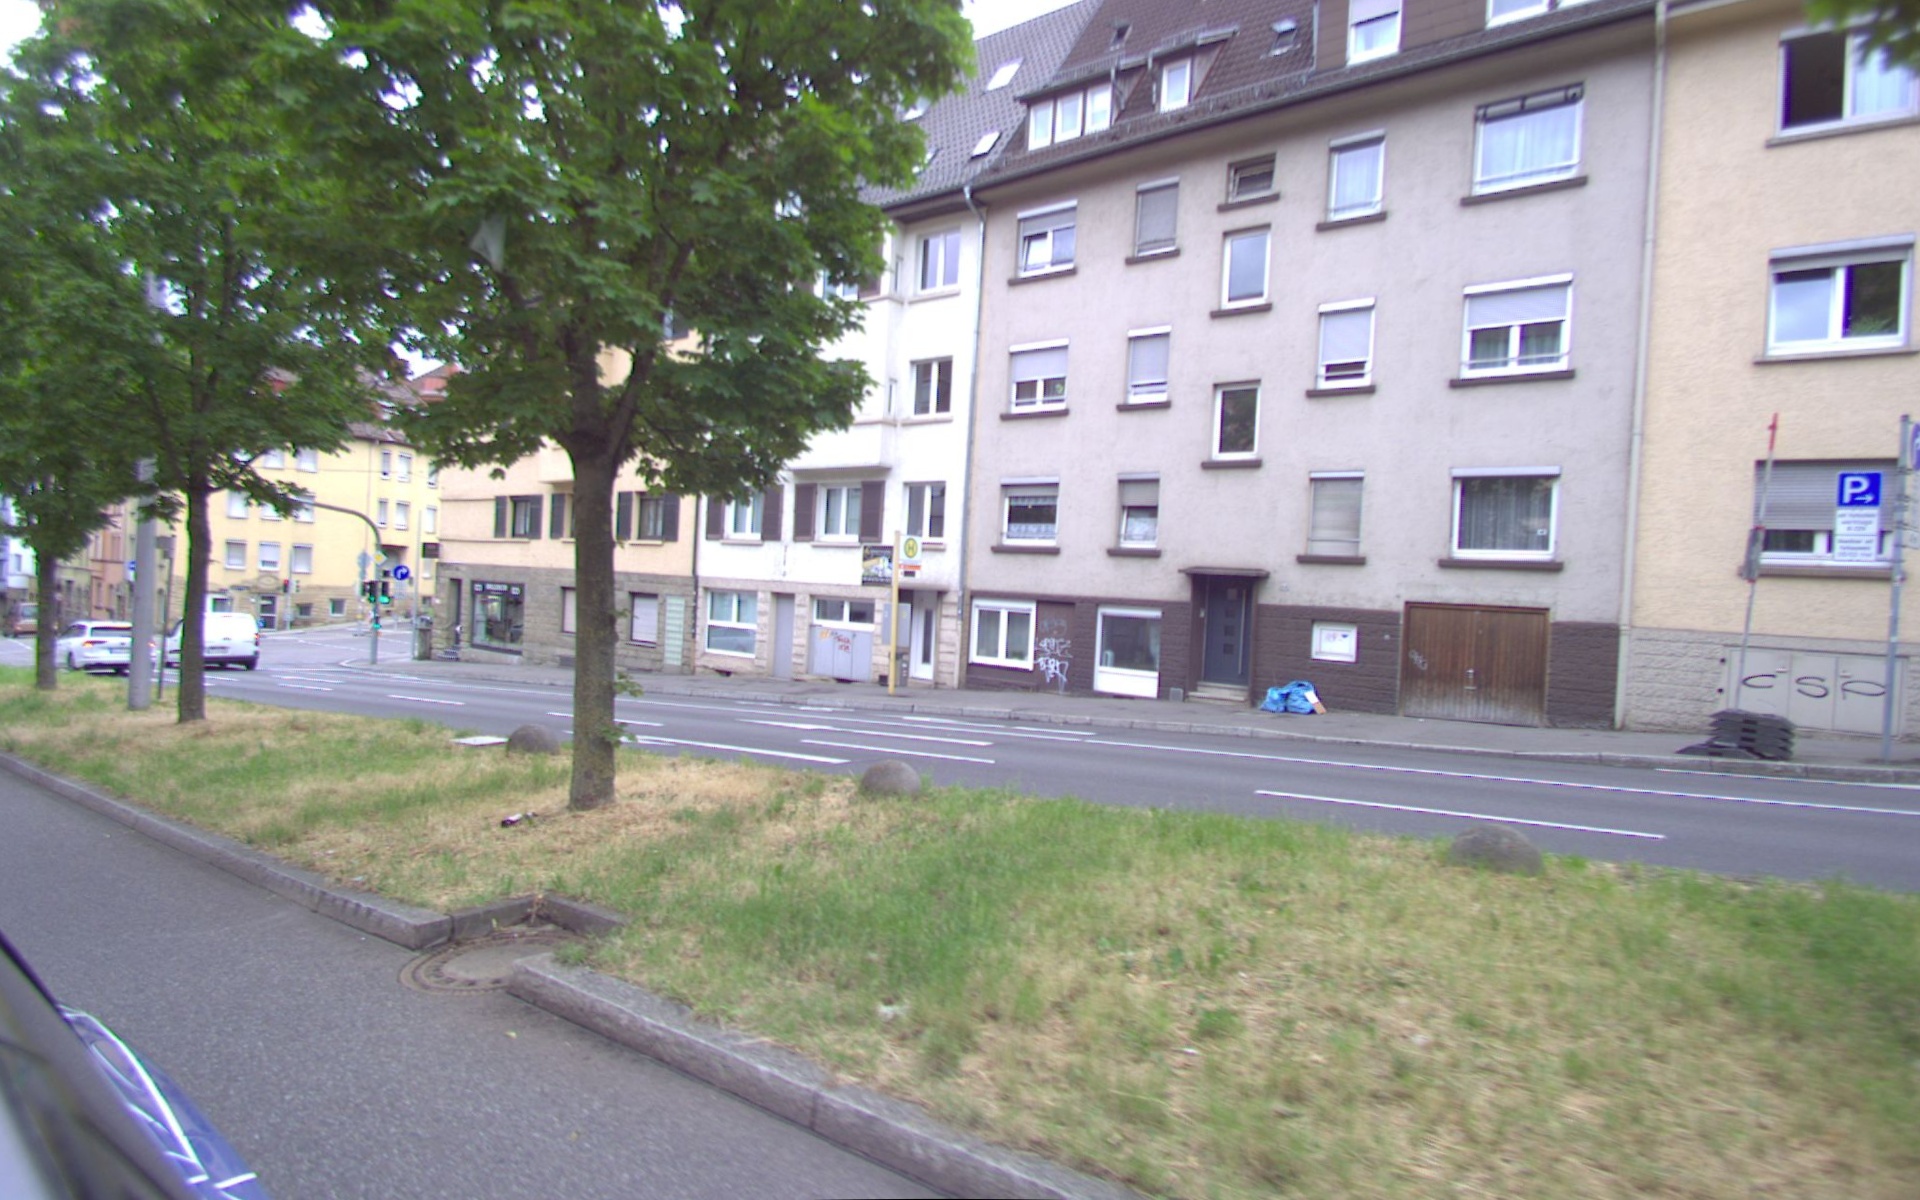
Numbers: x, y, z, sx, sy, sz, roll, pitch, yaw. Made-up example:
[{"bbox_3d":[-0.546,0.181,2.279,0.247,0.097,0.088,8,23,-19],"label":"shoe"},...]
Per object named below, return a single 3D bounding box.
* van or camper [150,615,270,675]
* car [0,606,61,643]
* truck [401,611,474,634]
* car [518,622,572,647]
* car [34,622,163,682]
[{"bbox_3d":[-23.934,1.403,32.255,4.649,1.775,1.889,-1,-3,39],"label":"van or camper"},{"bbox_3d":[-49.271,1.313,53.538,4.346,1.830,1.861,-3,-3,39],"label":"car"},{"bbox_3d":[-32.677,1.393,63.442,1.836,1.429,3.979,0,-1,16],"label":"truck"},{"bbox_3d":[-30.398,2.537,74.243,1.842,1.734,3.844,0,-2,10],"label":"car"},{"bbox_3d":[-23.430,1.364,27.467,4.579,1.478,1.729,-1,-2,38],"label":"car"}]
